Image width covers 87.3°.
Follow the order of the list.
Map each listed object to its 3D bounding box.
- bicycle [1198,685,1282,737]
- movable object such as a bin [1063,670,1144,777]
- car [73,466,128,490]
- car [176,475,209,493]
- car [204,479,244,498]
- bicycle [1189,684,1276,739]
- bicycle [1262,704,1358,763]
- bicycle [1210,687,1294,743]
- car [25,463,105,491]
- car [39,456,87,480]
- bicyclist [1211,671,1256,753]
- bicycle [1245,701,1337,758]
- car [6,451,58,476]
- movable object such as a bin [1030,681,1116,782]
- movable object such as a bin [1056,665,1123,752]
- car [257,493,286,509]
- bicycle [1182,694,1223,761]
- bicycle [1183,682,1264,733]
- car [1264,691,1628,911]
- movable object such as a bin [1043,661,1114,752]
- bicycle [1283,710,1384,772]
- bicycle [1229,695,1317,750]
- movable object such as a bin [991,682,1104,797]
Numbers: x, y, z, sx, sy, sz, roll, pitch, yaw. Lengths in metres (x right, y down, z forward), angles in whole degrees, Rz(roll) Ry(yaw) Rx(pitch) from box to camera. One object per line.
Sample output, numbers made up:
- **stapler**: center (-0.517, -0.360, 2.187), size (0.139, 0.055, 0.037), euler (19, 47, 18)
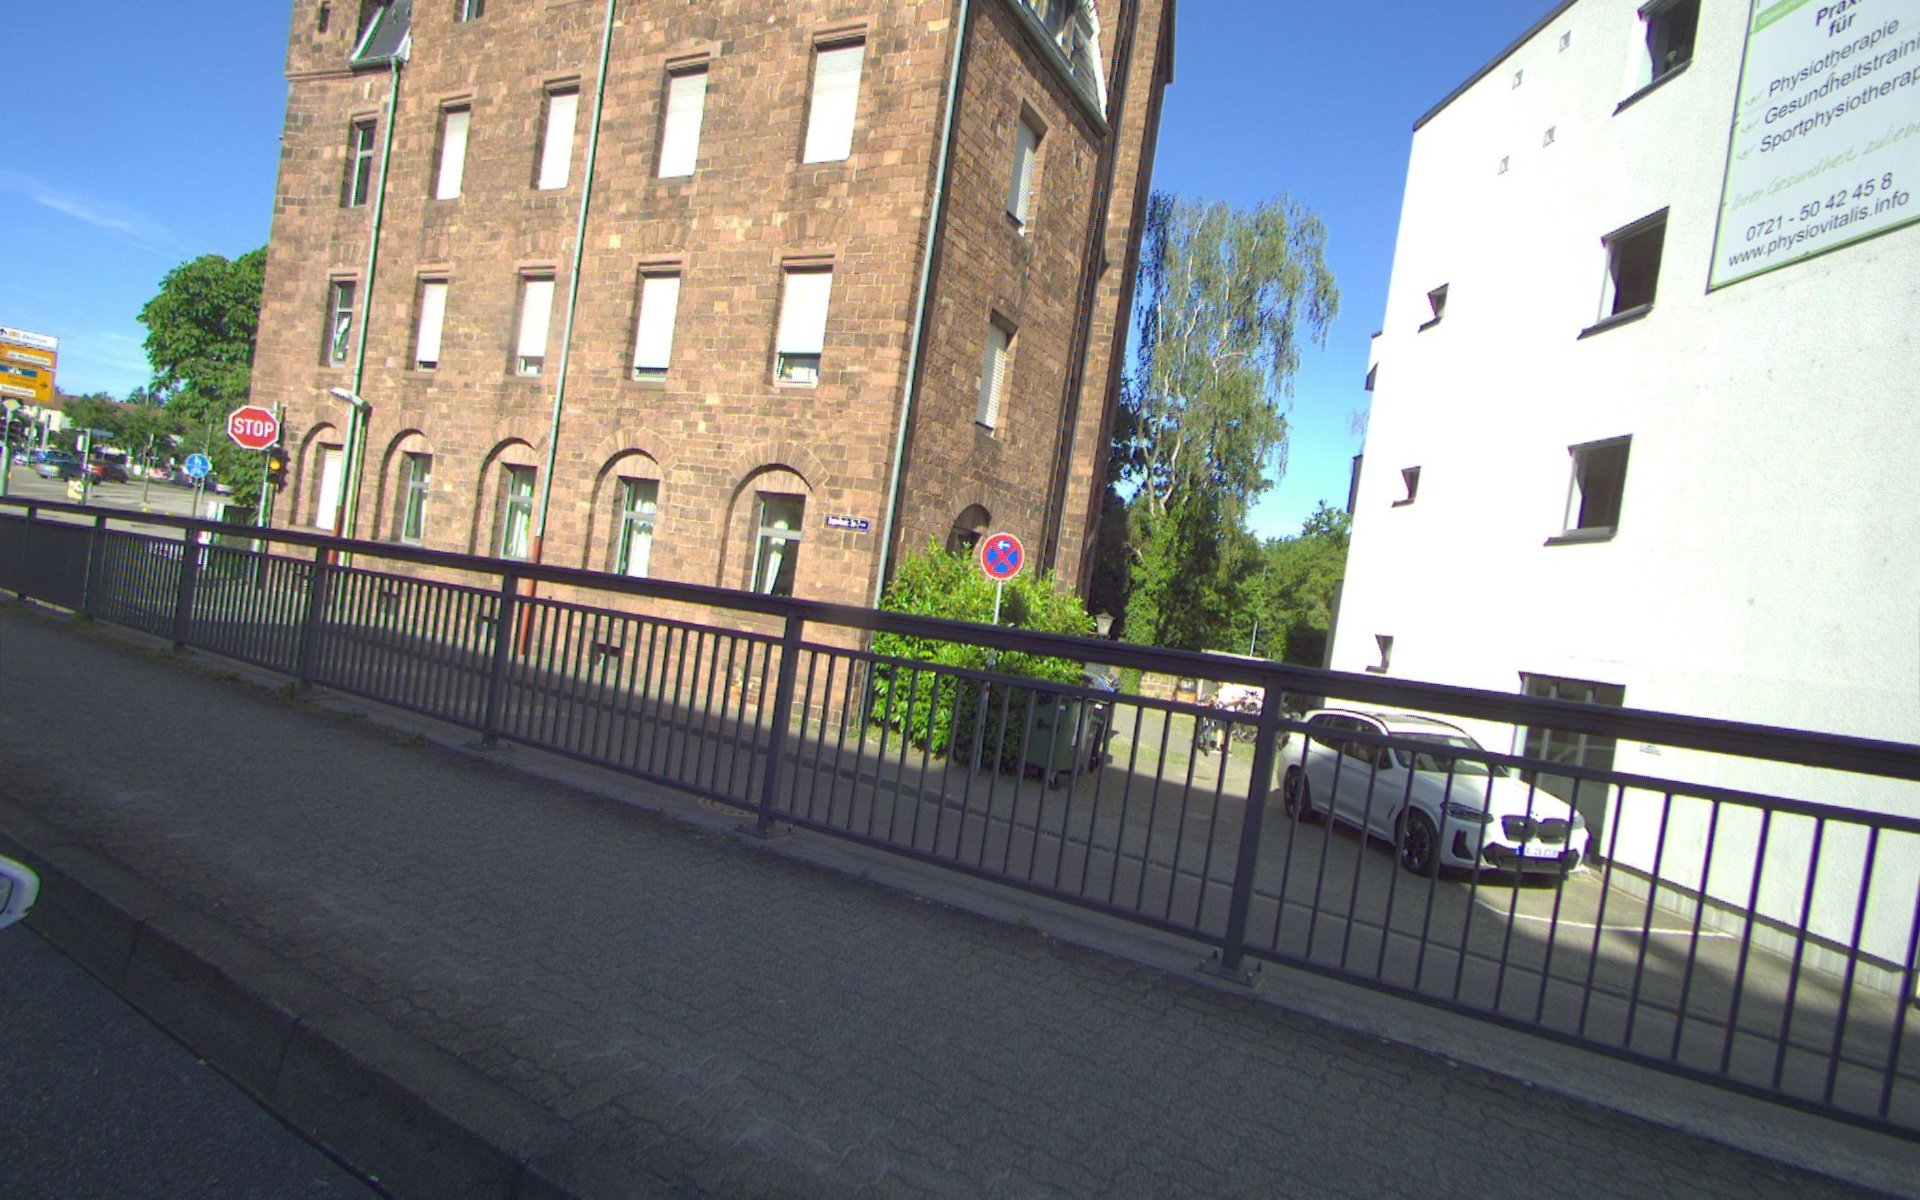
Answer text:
- **bicycle**: center (7.903, 3.131, 28.419), size (2.075, 1.174, 0.664), euler (8, 1, -9)
- **movable object such as a bin**: center (2.396, 2.014, 16.669), size (1.009, 1.539, 1.007), euler (9, 0, 14)
- **car**: center (-69.362, -9.798, 81.230), size (1.974, 1.474, 4.523), euler (8, 2, -23)
- **car**: center (-77.928, -11.776, 102.176), size (1.766, 1.375, 4.049), euler (8, 2, -26)
- **car**: center (-71.138, -10.737, 97.278), size (1.975, 1.459, 4.791), euler (8, 2, -24)
- **bicycle**: center (7.402, 3.024, 27.387), size (2.075, 1.174, 0.664), euler (8, 1, -9)
- **bicycle**: center (8.124, 3.091, 23.371), size (1.889, 1.065, 0.664), euler (8, 1, -6)
- **bicycle**: center (7.663, 3.022, 26.454), size (1.889, 1.174, 0.664), euler (8, 1, -6)
- **car**: center (-62.034, -8.514, 69.852), size (1.968, 1.311, 4.581), euler (8, 1, -11)
- **car**: center (-82.317, -12.105, 92.355), size (1.860, 1.598, 3.978), euler (8, 1, -22)
- **bicyclist**: center (5.857, 2.386, 21.578), size (0.675, 1.627, 0.697), euler (9, 0, 12)
- **bicycle**: center (7.969, 3.111, 24.259), size (1.889, 1.065, 0.664), euler (8, 1, -6)
- **car**: center (-79.899, -11.742, 86.653), size (1.860, 1.598, 3.978), euler (8, 1, -22)
- **movable object such as a bin**: center (1.755, 1.997, 15.488), size (1.009, 1.307, 1.007), euler (10, 0, 14)
- **movable object such as a bin**: center (2.641, 2.180, 20.465), size (1.009, 1.539, 1.007), euler (9, 0, 14)
- **car**: center (-78.519, -11.313, 114.748), size (1.976, 1.459, 4.264), euler (8, 2, -26)
- **bicycle**: center (5.220, 2.727, 21.722), size (0.677, 1.155, 1.839), euler (9, 1, 13)
- **bicycle**: center (7.659, 3.132, 29.272), size (2.075, 1.174, 0.664), euler (8, 1, -9)
- **car**: center (5.968, 2.403, 13.123), size (1.814, 1.707, 4.521), euler (8, 0, -9)
- **movable object such as a bin**: center (2.280, 2.015, 19.275), size (1.009, 1.539, 1.007), euler (9, 0, 14)
- **bicycle**: center (8.329, 3.136, 22.457), size (1.889, 1.065, 0.664), euler (8, 1, -6)
- **bicycle**: center (7.864, 3.079, 25.287), size (1.889, 1.065, 0.664), euler (8, 1, -6)
- **movable object such as a bin**: center (1.187, 1.850, 13.525), size (1.011, 1.307, 1.005), euler (10, 0, 29)
